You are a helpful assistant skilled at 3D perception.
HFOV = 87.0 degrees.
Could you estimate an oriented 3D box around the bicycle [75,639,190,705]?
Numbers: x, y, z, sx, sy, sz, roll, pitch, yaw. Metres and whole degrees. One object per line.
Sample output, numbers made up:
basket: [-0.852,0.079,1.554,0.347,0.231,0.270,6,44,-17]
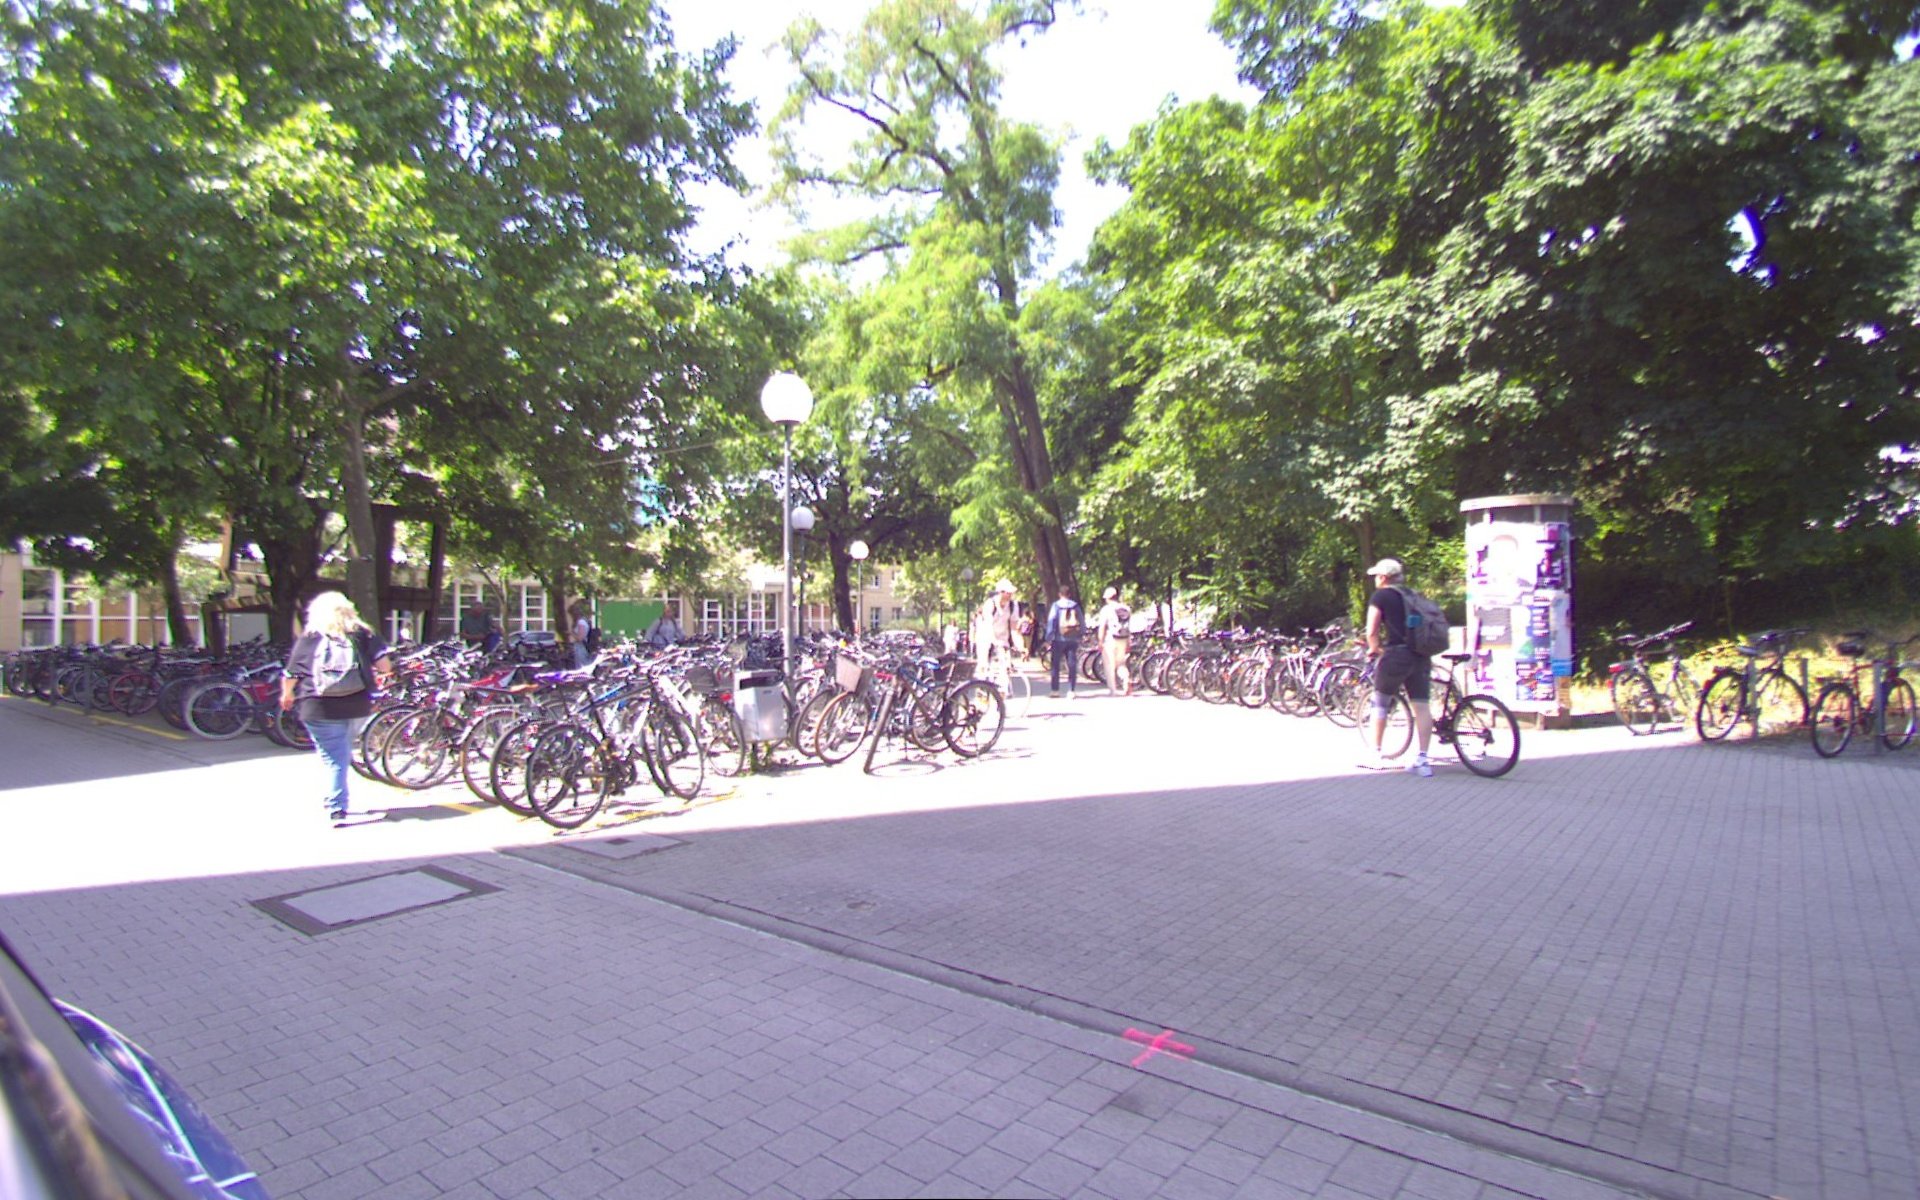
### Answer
bicycle: [-15.162,1.299,18.595,1.603,1.116,0.564,-1,-1,-37]

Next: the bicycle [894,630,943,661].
bicycle: [-1.505,1.631,36.477,1.681,1.092,0.472,-1,-1,11]

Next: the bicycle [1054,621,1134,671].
bicycle: [3.124,1.060,23.696,1.749,1.118,0.518,-1,-1,-9]

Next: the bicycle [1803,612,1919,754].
bicycle: [8.106,0.674,8.726,1.747,1.118,0.475,-1,-1,-22]

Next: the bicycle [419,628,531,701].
bicycle: [-8.437,1.121,17.638,1.676,1.209,0.576,-1,-1,0]

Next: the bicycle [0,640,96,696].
bicycle: [-19.910,1.468,22.044,0.497,1.116,1.606,-2,-1,44]

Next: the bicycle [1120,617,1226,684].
bicycle: [3.762,0.886,17.923,1.748,1.118,0.518,-1,-1,-12]

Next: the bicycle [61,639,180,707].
bicycle: [-14.922,1.272,18.041,1.603,1.116,0.498,-1,-1,-37]

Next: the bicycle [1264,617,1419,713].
bicycle: [4.723,0.791,12.572,1.750,1.118,0.475,-1,-1,-7]

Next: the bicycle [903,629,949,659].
bicycle: [-1.285,1.674,38.480,1.681,1.092,0.472,-1,-1,11]

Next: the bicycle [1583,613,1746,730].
bicycle: [7.340,0.712,10.532,1.747,1.118,0.475,-1,-1,-22]

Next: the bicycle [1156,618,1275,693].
bicycle: [4.026,0.858,15.957,1.748,1.118,0.475,-1,-1,-12]

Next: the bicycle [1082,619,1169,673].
bicycle: [3.584,0.988,21.967,1.749,1.118,0.518,-1,-1,-9]

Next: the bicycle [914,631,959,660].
bicycle: [-0.921,1.759,39.486,1.681,1.092,0.472,-1,-1,11]

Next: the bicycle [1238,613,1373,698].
bicycle: [4.810,0.754,14.099,1.748,1.118,0.475,-1,-1,-12]

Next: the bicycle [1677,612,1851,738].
bicycle: [7.747,0.687,9.744,1.747,1.118,0.475,-1,-1,-22]

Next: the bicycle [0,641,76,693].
bicycle: [-21.238,1.523,23.071,0.497,1.116,1.606,-2,-1,44]

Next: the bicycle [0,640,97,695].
bicycle: [-20.259,1.486,22.482,0.506,1.116,1.606,-2,-1,44]

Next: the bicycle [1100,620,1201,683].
bicycle: [3.557,0.957,18.956,1.749,1.118,0.518,-1,-1,-9]

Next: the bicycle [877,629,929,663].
bicycle: [-1.901,1.537,33.885,1.681,1.092,0.472,-1,-1,11]

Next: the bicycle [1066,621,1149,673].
bicycle: [3.315,1.052,22.841,1.749,1.118,0.518,-1,-1,-9]

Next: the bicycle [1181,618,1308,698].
bicycle: [4.184,0.836,14.913,1.748,1.118,0.475,-1,-1,-12]

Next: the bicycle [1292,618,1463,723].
bicycle: [4.721,0.780,11.463,1.750,1.118,0.475,-1,-1,-7]

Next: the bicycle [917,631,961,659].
bicycle: [-0.854,1.792,40.589,1.681,1.092,0.472,-1,-1,11]

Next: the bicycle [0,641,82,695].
bicycle: [-20.804,1.514,22.712,0.629,1.116,1.606,-2,-1,43]

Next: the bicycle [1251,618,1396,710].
bicycle: [4.711,0.816,13.130,1.748,1.118,0.475,-1,-1,-12]

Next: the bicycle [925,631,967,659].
bicycle: [-0.575,1.856,41.656,1.681,1.092,0.472,-1,-1,11]

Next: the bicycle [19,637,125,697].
bicycle: [-18.623,1.376,21.247,0.496,1.159,1.608,-2,-1,39]

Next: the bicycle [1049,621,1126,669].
bicycle: [3.077,1.076,24.455,1.749,1.118,0.518,-1,-1,-9]

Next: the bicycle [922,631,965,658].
bicycle: [-0.676,1.807,41.072,1.681,1.092,0.472,-1,-1,11]

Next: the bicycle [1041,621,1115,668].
bicycle: [2.947,1.113,25.277,1.749,1.118,0.518,-1,-1,-9]

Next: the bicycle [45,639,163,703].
bicycle: [-16.411,1.338,19.440,1.700,1.116,0.720,0,-1,-40]

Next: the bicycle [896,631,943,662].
bicycle: [-1.502,1.712,37.454,1.681,1.092,0.472,-1,-1,11]

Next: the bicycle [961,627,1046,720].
bicycle: [0.529,0.904,13.070,0.594,1.092,1.704,-1,-1,-15]

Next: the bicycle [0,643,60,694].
bicycle: [-21.801,1.573,23.280,0.497,1.116,1.606,-2,-1,44]

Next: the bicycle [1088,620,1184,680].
bicycle: [3.442,0.967,19.851,1.749,1.118,0.518,-1,-1,-9]

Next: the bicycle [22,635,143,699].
bicycle: [-17.580,1.313,20.310,0.496,1.170,1.764,-2,-1,34]

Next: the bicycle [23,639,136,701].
bicycle: [-17.277,1.349,19.896,0.496,1.116,1.611,-2,-1,34]

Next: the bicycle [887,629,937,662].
bicycle: [-1.665,1.572,35.103,1.681,1.092,0.472,-1,-1,11]

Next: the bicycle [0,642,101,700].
bicycle: [-19.381,1.485,21.552,0.691,1.116,1.606,-2,-1,44]

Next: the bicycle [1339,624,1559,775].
bicycle: [4.067,0.773,8.598,0.466,1.118,1.851,-1,-1,-20]

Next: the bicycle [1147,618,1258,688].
bicycle: [4.098,0.881,17.108,1.748,1.118,0.518,-1,-1,-12]

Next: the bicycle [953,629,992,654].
bicycle: [0.551,1.854,45.031,1.681,1.092,0.472,-1,-1,11]

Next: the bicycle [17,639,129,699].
bicycle: [-18.096,1.385,20.678,0.643,1.116,1.611,-2,-1,34]

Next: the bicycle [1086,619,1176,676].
bicycle: [3.557,0.976,21.105,1.749,1.118,0.518,-1,-1,-9]
